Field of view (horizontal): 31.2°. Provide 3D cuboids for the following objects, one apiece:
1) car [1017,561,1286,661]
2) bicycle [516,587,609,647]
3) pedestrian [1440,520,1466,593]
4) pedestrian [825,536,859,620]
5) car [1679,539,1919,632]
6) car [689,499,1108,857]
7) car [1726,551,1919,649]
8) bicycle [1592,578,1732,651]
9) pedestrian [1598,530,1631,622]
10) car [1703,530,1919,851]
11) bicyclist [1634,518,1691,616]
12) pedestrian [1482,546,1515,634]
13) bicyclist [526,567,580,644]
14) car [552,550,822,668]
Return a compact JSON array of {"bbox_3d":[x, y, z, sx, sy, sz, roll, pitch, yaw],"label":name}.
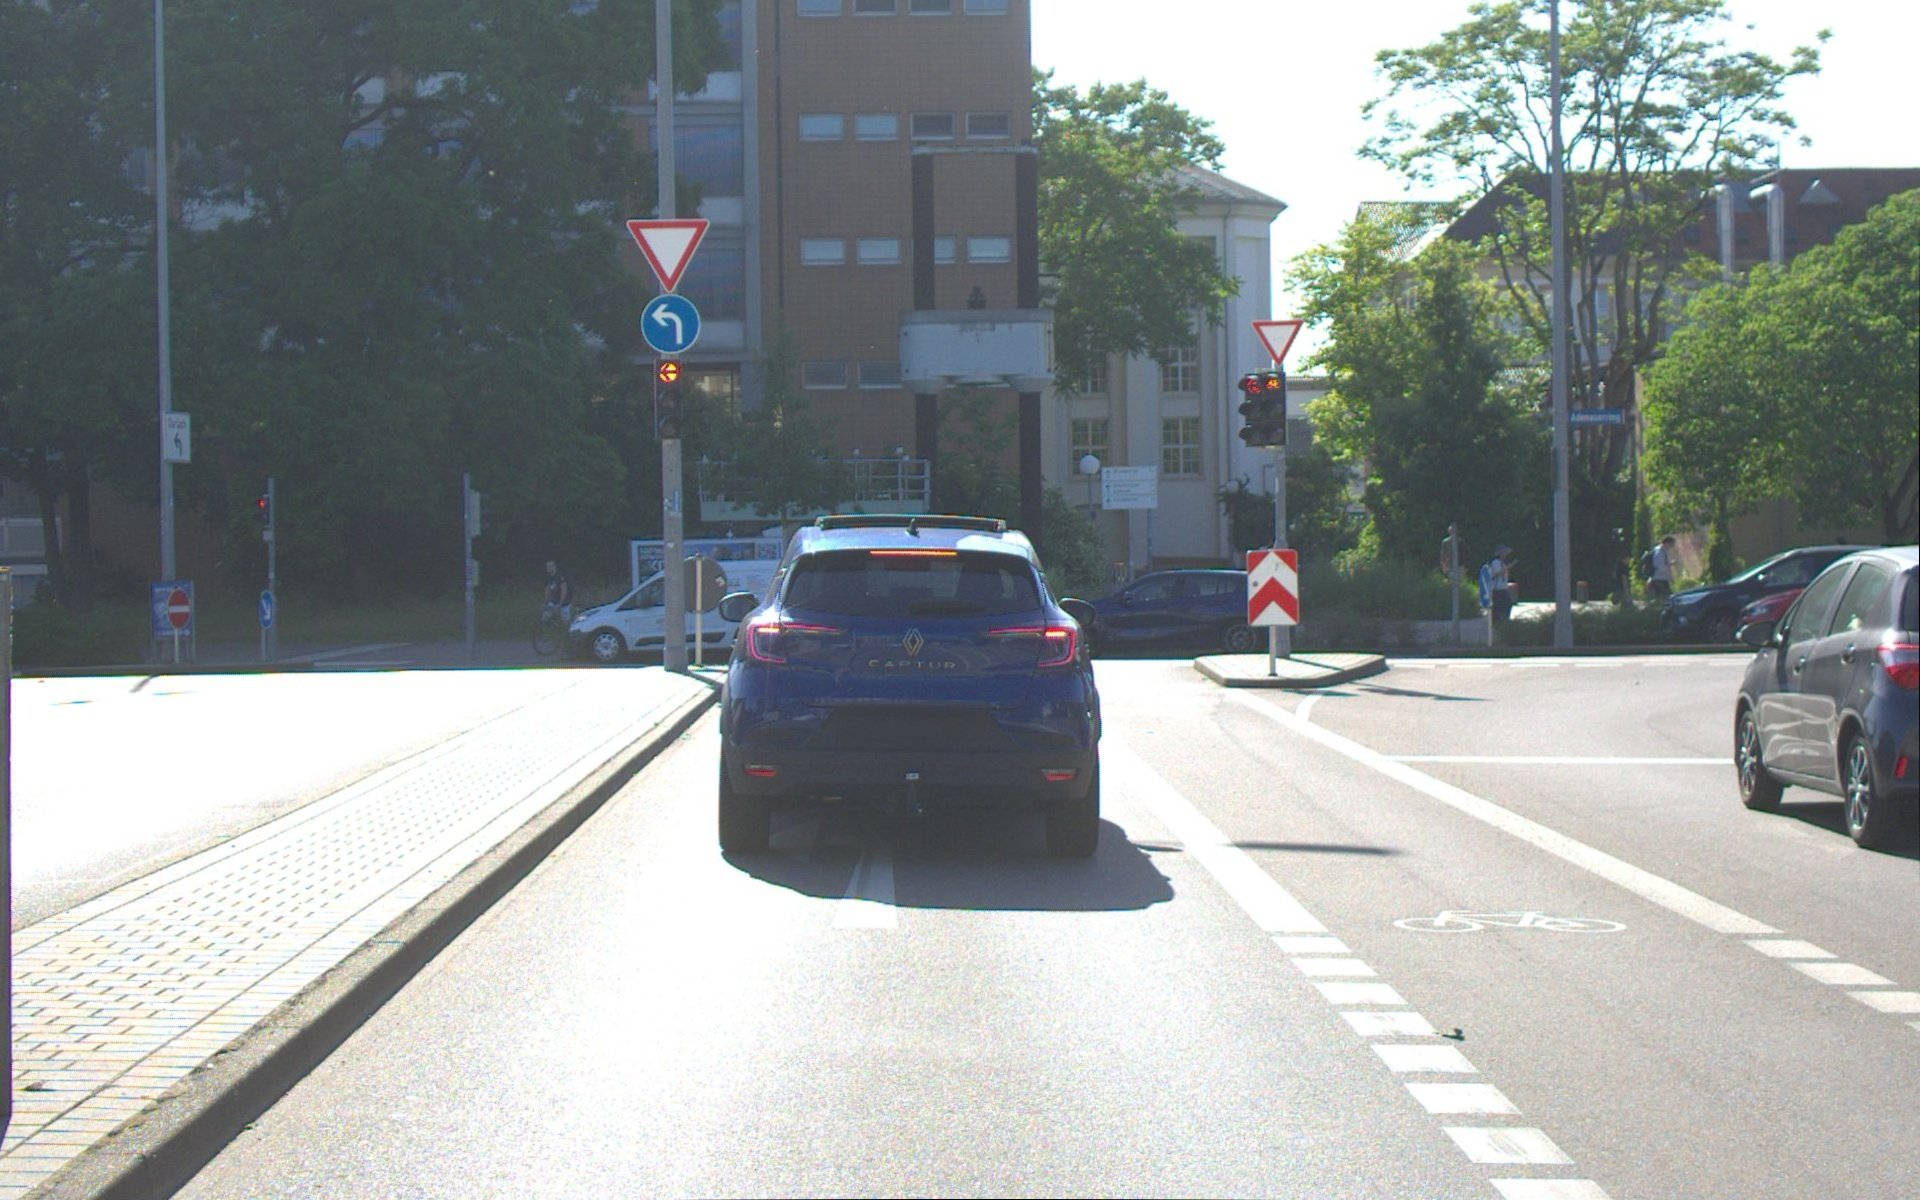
[{"bbox_3d":[3.106,0.191,55.409,4.117,1.581,1.879,0,-1,11],"label":"car"},{"bbox_3d":[-7.567,0.316,65.527,1.666,1.089,0.610,-1,1,-37],"label":"bicycle"},{"bbox_3d":[11.245,-0.990,78.380,0.577,1.664,0.562,0,-1,10],"label":"pedestrian"},{"bbox_3d":[-2.335,-0.428,68.114,0.560,1.664,0.476,0,-1,15],"label":"pedestrian"},{"bbox_3d":[13.794,-0.245,55.745,3.988,1.459,2.000,0,1,7],"label":"car"},{"bbox_3d":[-0.415,0.338,17.277,1.823,1.594,3.659,1,0,-5],"label":"car"},{"bbox_3d":[13.859,-0.011,52.543,3.988,1.459,2.000,0,0,7],"label":"car"},{"bbox_3d":[13.375,0.280,65.516,2.454,1.366,0.850,-1,-1,28],"label":"bicycle"},{"bbox_3d":[11.988,-0.437,62.927,0.556,1.664,0.476,0,-1,15],"label":"pedestrian"},{"bbox_3d":[5.219,0.437,18.286,1.756,1.536,3.658,0,0,0],"label":"car"},{"bbox_3d":[13.392,-0.624,65.512,0.857,1.840,0.850,-1,-1,28],"label":"bicyclist"},{"bbox_3d":[10.157,-0.183,64.882,0.560,1.664,0.476,0,-1,15],"label":"pedestrian"},{"bbox_3d":[-7.744,0.103,65.396,0.816,1.439,0.620,-1,1,-36],"label":"bicyclist"},{"bbox_3d":[-4.742,0.164,59.944,4.349,2.007,1.999,0,-1,9],"label":"car"}]
